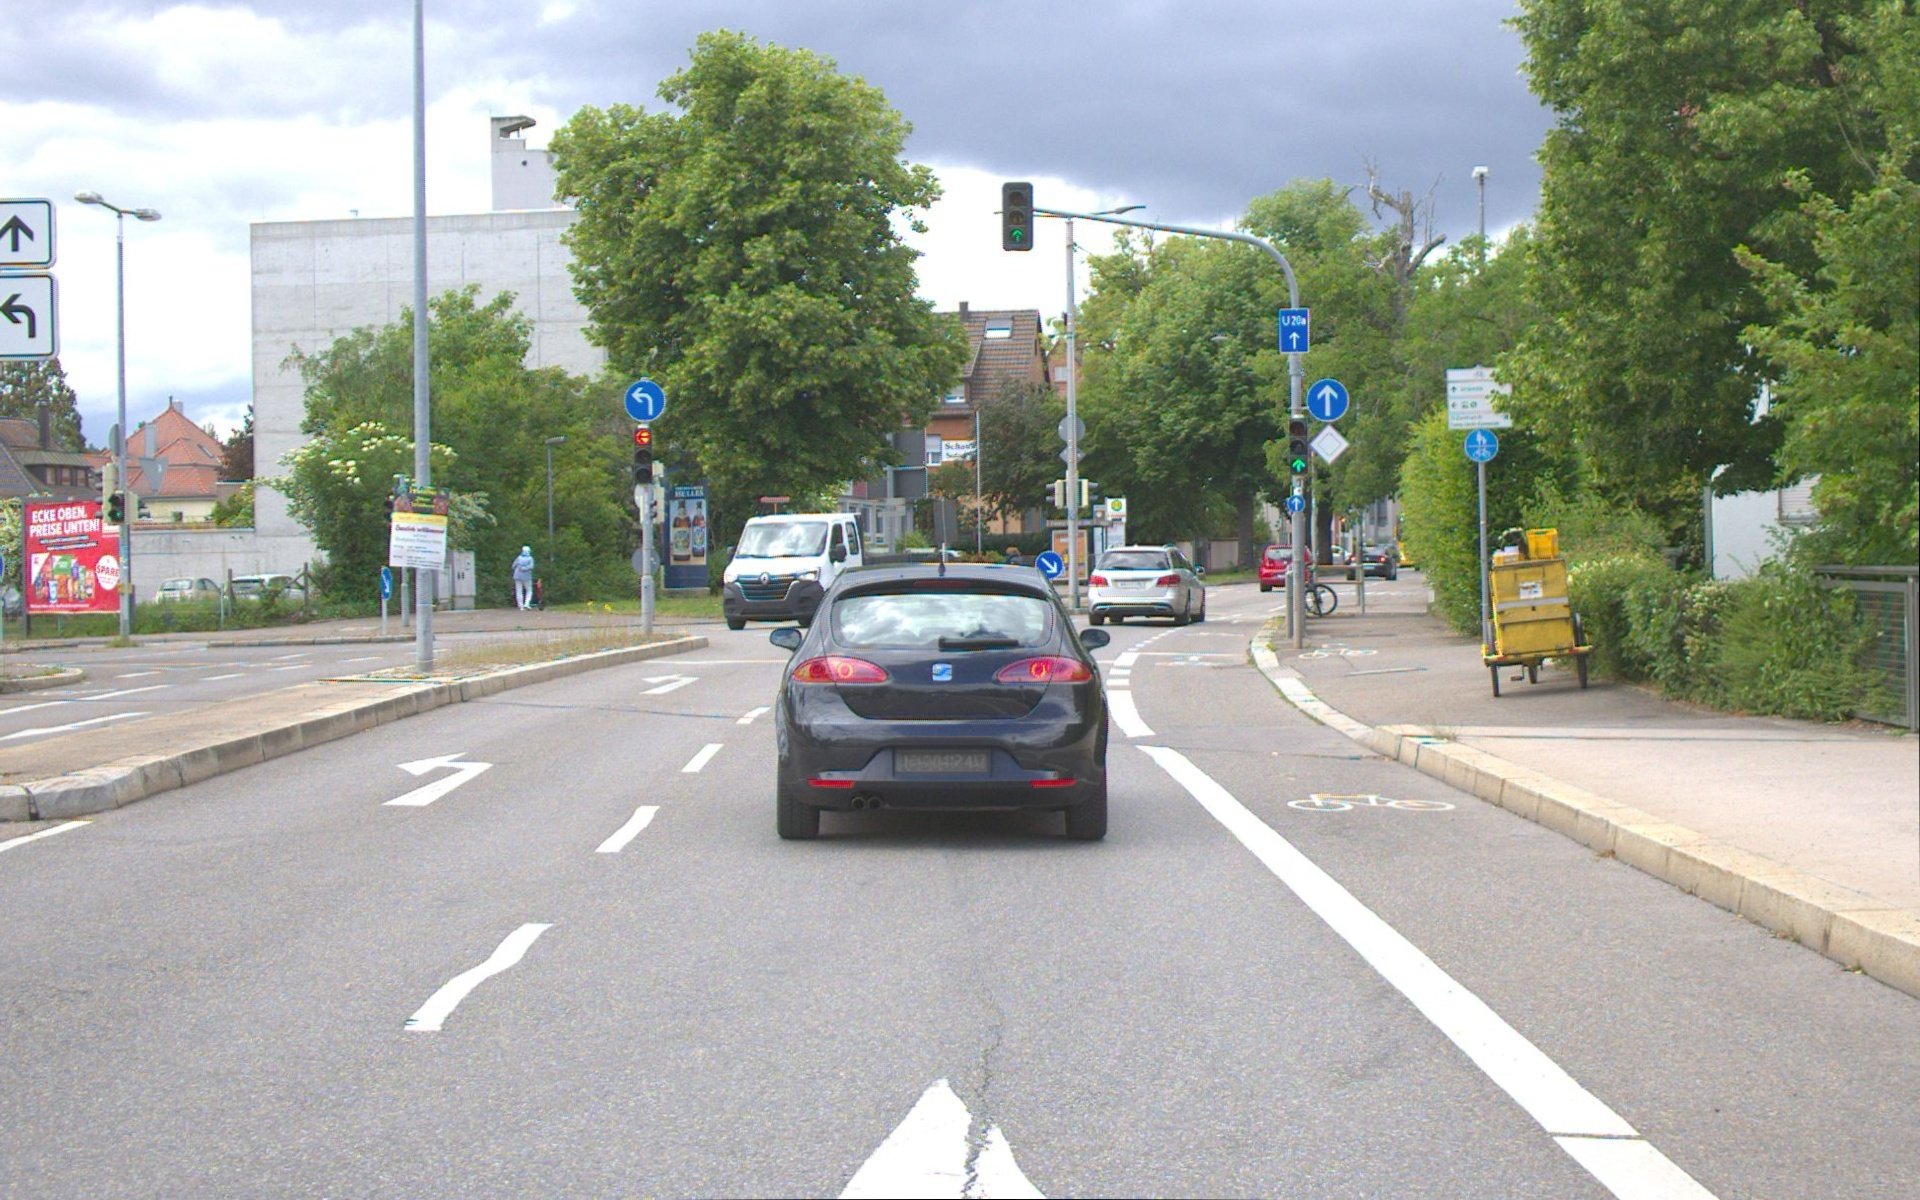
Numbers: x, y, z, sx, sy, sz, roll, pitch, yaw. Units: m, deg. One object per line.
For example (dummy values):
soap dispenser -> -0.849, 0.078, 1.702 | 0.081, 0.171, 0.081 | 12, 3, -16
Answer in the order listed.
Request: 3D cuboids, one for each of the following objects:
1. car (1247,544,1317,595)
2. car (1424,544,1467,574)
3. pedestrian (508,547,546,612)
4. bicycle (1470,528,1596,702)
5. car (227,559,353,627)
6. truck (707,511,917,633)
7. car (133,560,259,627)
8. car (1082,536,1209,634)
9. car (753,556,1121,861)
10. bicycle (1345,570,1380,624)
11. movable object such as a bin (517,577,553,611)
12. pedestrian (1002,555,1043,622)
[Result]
car -> 10.089, -0.980, 107.559 | 1.942, 1.476, 4.252 | -1, 1, 8
car -> 27.165, -2.290, 192.242 | 1.850, 1.590, 4.103 | -1, 1, 15
pedestrian -> -10.304, -0.497, 81.852 | 0.655, 1.517, 0.923 | -1, 1, 8
bicycle -> 5.320, 0.109, 32.070 | 0.891, 1.505, 2.782 | -3, 1, 5
car -> -20.454, -0.229, 105.075 | 1.995, 2.007, 3.996 | 2, 1, 19
truck -> -2.863, -0.596, 68.586 | 2.127, 2.257, 6.801 | -1, 1, 16
car -> -23.742, -0.214, 107.007 | 1.995, 2.007, 3.996 | 2, 1, 19
car -> 3.509, -0.306, 64.376 | 1.819, 1.693, 4.251 | -1, 1, 10
car -> -0.031, 0.515, 18.992 | 1.759, 1.444, 3.714 | 1, 1, 3
bicycle -> 7.798, -0.065, 66.579 | 0.628, 1.025, 1.503 | 0, 1, 8
movable object such as a bin -> -10.205, -0.142, 82.572 | 0.655, 0.795, 0.897 | -1, 1, 8
pedestrian -> 1.420, -0.264, 77.684 | 0.773, 1.402, 0.601 | 5, 4, -3
